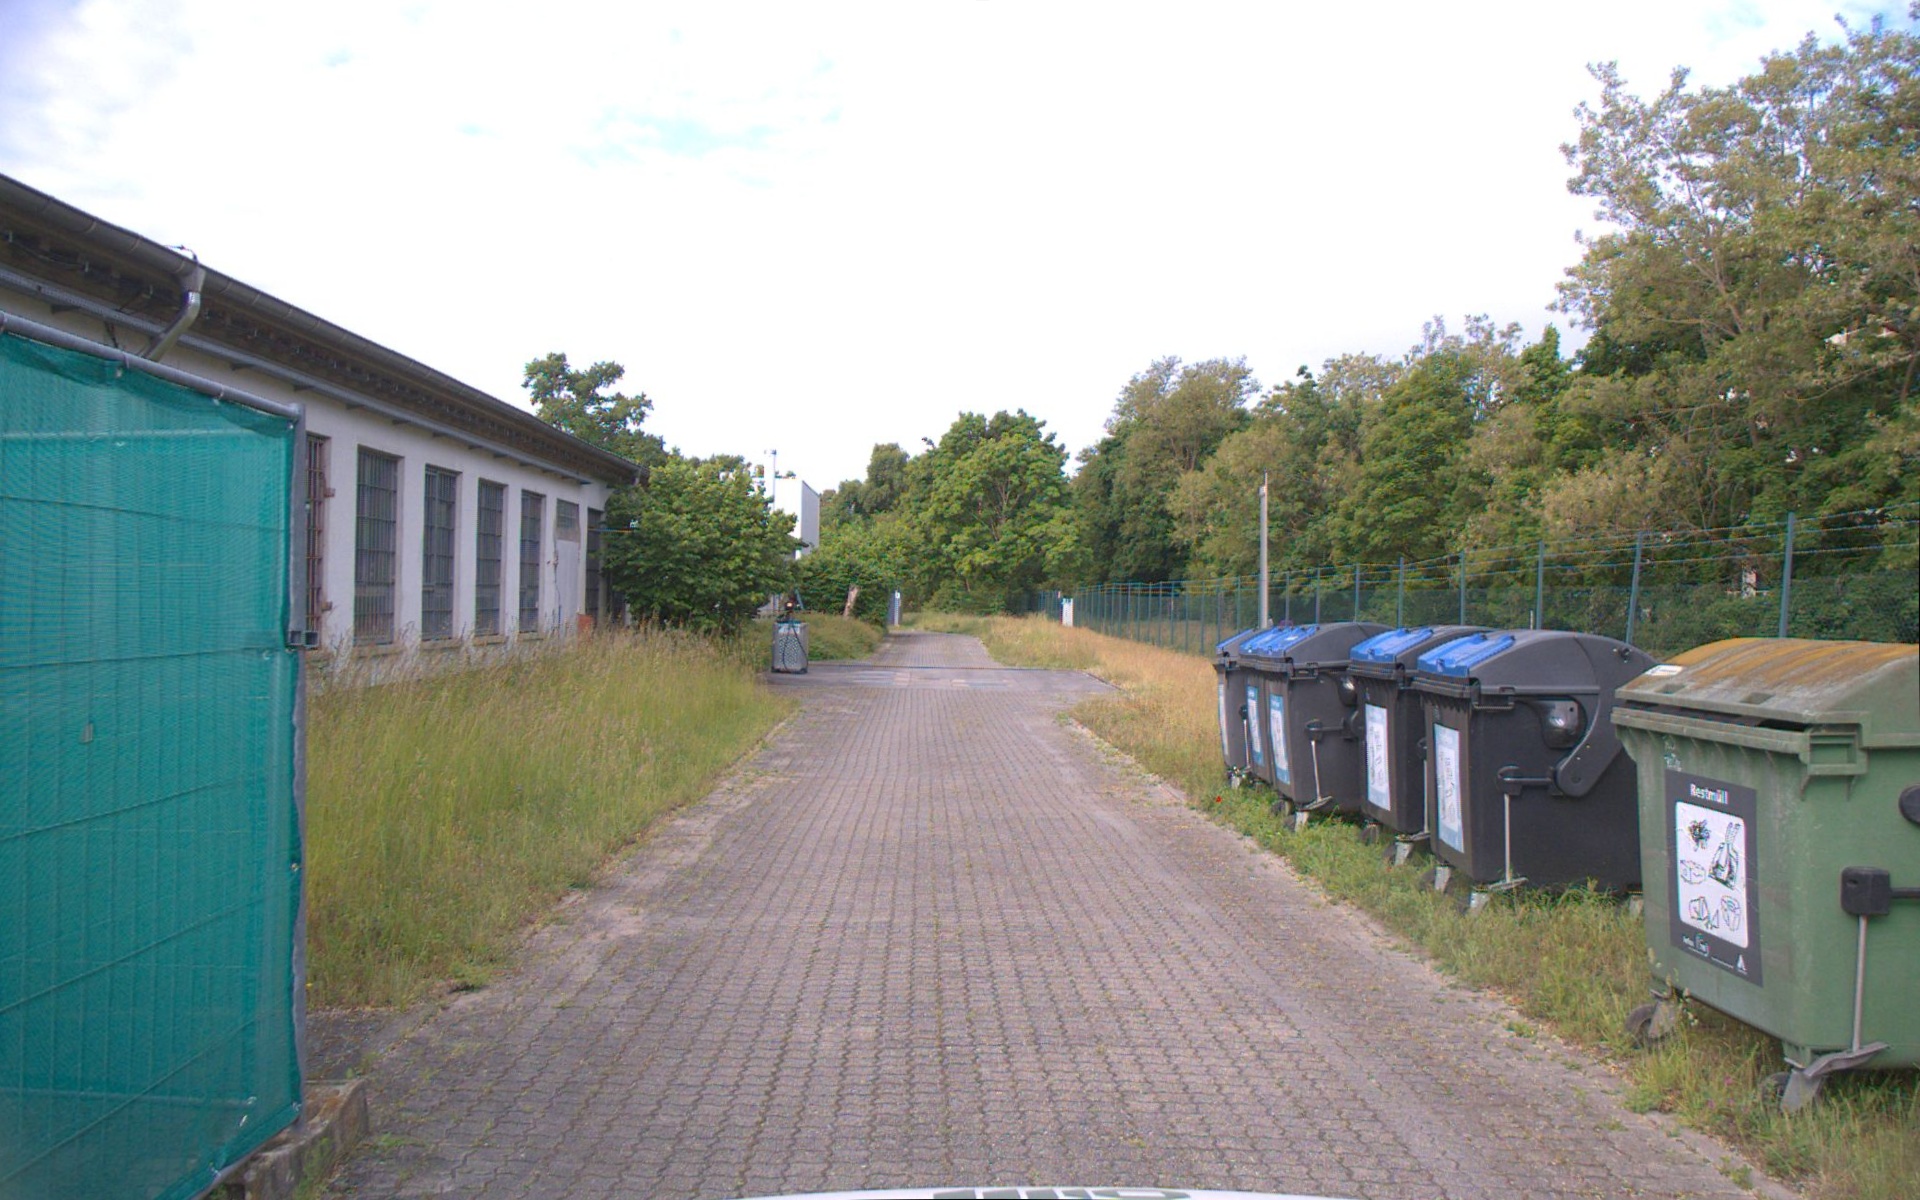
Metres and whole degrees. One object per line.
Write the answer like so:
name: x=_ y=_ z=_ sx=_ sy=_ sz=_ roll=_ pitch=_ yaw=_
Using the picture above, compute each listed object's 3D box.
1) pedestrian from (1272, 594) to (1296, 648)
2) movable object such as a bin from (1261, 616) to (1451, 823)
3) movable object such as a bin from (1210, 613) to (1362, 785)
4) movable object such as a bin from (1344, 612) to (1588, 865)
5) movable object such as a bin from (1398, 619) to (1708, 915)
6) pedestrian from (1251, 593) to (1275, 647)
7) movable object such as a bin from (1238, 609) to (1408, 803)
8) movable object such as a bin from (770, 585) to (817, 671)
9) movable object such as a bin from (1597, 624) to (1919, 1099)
pedestrian: x=12.363 y=0.803 z=63.110 sx=0.744 sy=2.049 sz=0.663 roll=0 pitch=0 yaw=-2
movable object such as a bin: x=2.731 y=0.791 z=11.572 sx=1.099 sy=1.344 sz=1.326 roll=0 pitch=0 yaw=5
movable object such as a bin: x=2.777 y=0.817 z=14.251 sx=1.099 sy=1.374 sz=1.426 roll=1 pitch=-1 yaw=4
movable object such as a bin: x=3.025 y=0.789 z=10.074 sx=1.099 sy=1.398 sz=1.494 roll=1 pitch=-1 yaw=4
movable object such as a bin: x=2.974 y=0.790 z=8.491 sx=1.130 sy=1.348 sz=1.494 roll=1 pitch=-1 yaw=4
pedestrian: x=11.594 y=0.766 z=63.328 sx=0.744 sy=2.049 sz=0.663 roll=0 pitch=0 yaw=-2
movable object such as a bin: x=2.789 y=0.791 z=12.875 sx=1.099 sy=1.403 sz=1.326 roll=1 pitch=-1 yaw=4
movable object such as a bin: x=-3.946 y=0.661 z=39.173 sx=0.915 sy=2.017 sz=0.854 roll=0 pitch=0 yaw=7
movable object such as a bin: x=2.887 y=0.749 z=5.332 sx=1.100 sy=1.319 sz=1.379 roll=1 pitch=-1 yaw=-2
